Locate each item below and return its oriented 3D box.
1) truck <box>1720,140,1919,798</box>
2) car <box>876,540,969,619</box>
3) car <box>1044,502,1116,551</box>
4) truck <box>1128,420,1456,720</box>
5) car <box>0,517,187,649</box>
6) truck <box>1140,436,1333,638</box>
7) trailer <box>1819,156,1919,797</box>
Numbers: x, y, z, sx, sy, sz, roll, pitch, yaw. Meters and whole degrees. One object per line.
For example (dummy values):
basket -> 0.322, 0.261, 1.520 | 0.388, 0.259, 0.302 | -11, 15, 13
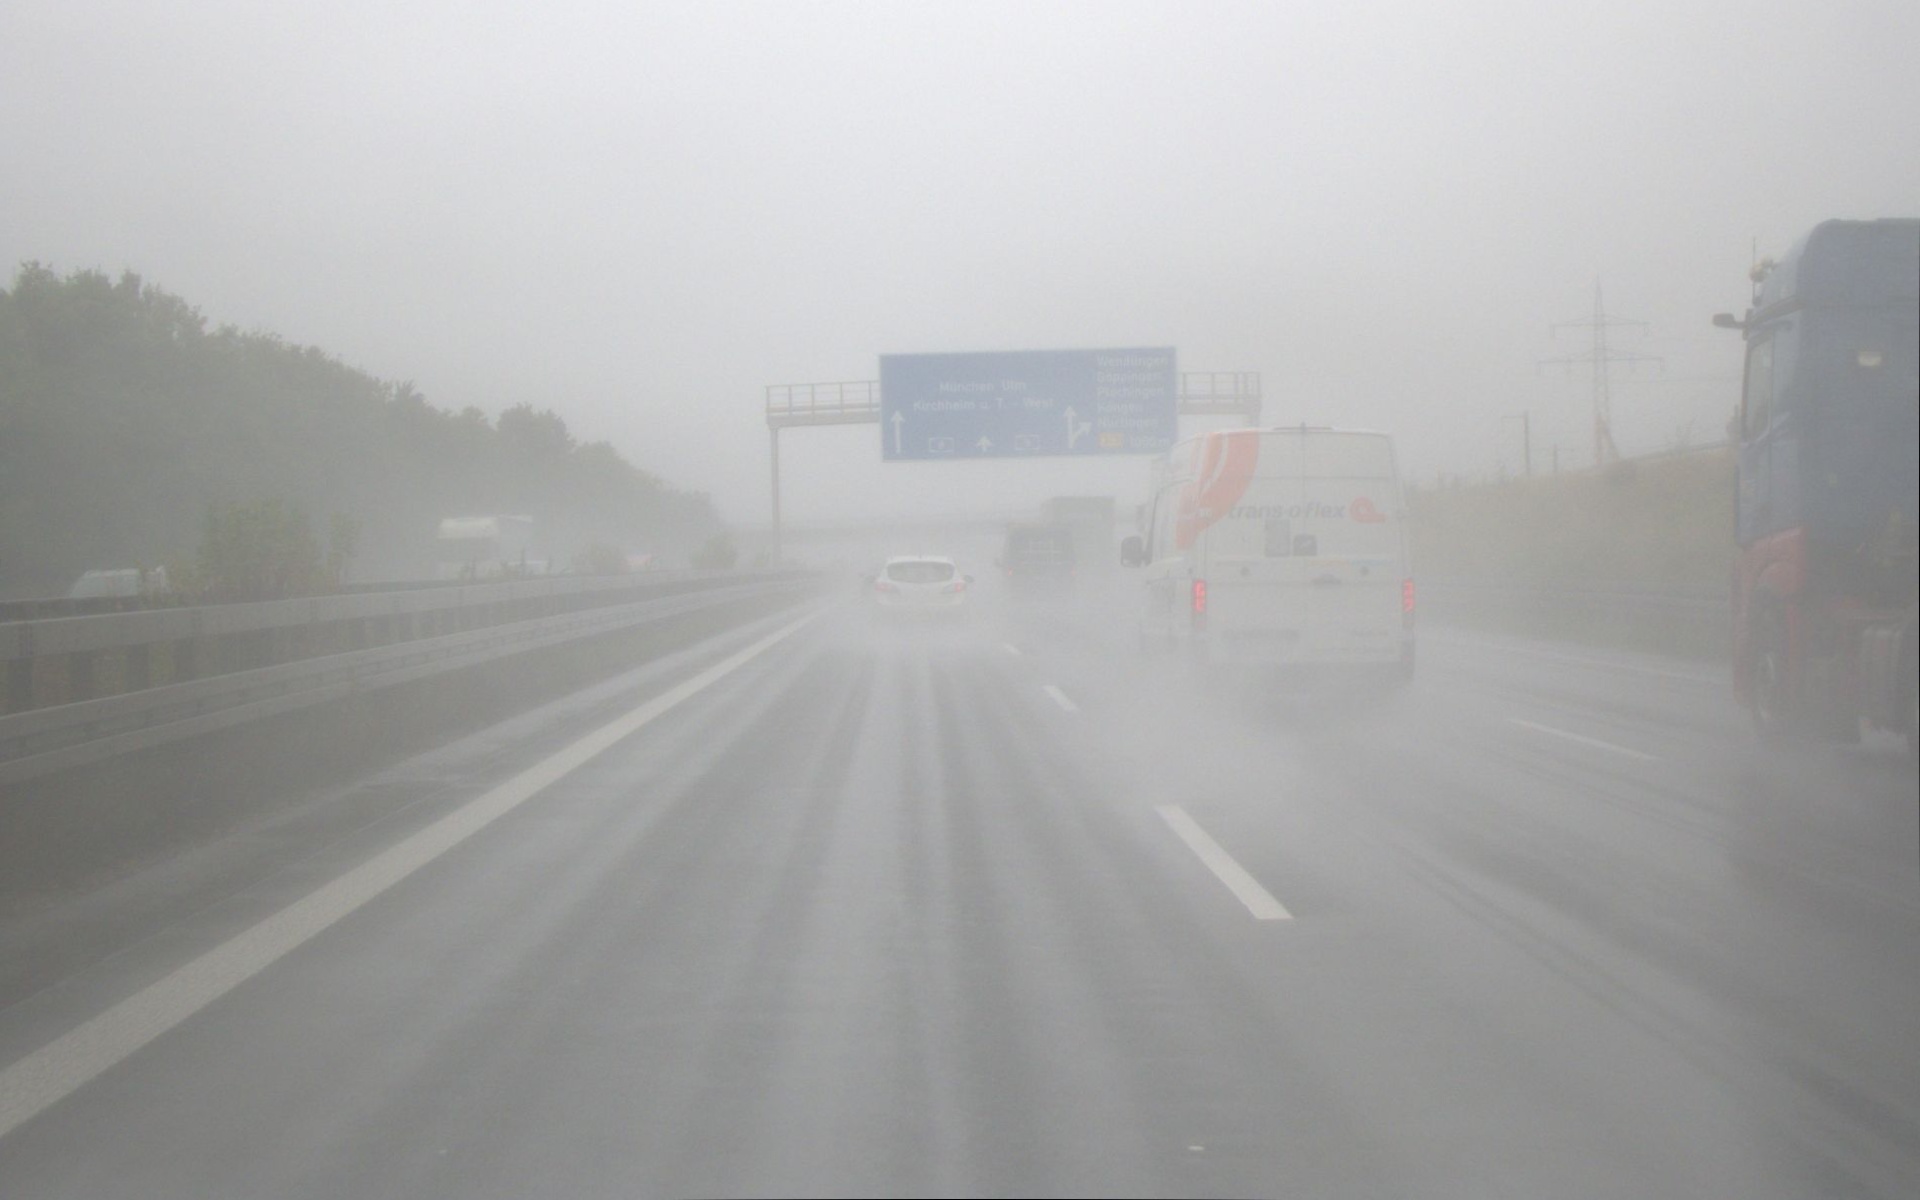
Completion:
truck -> 6.985, -0.845, 23.051 | 2.496, 3.970, 5.076 | 0, 1, -1
car -> -0.681, -0.393, 61.837 | 1.605, 1.333, 3.849 | 0, 1, -1
car -> 5.083, -3.129, 145.959 | 2.788, 2.007, 4.993 | 0, 1, -1
truck -> 2.903, -0.319, 31.420 | 2.419, 2.484, 5.560 | 0, 1, 0
car -> -13.172, -0.299, 51.884 | 2.031, 1.879, 4.629 | 0, 1, -1
truck -> 6.737, -1.509, 86.592 | 3.039, 4.572, 16.352 | 0, 1, -2
trailer -> 7.125, -0.655, 17.374 | 2.497, 3.869, 11.068 | 0, 1, -1
